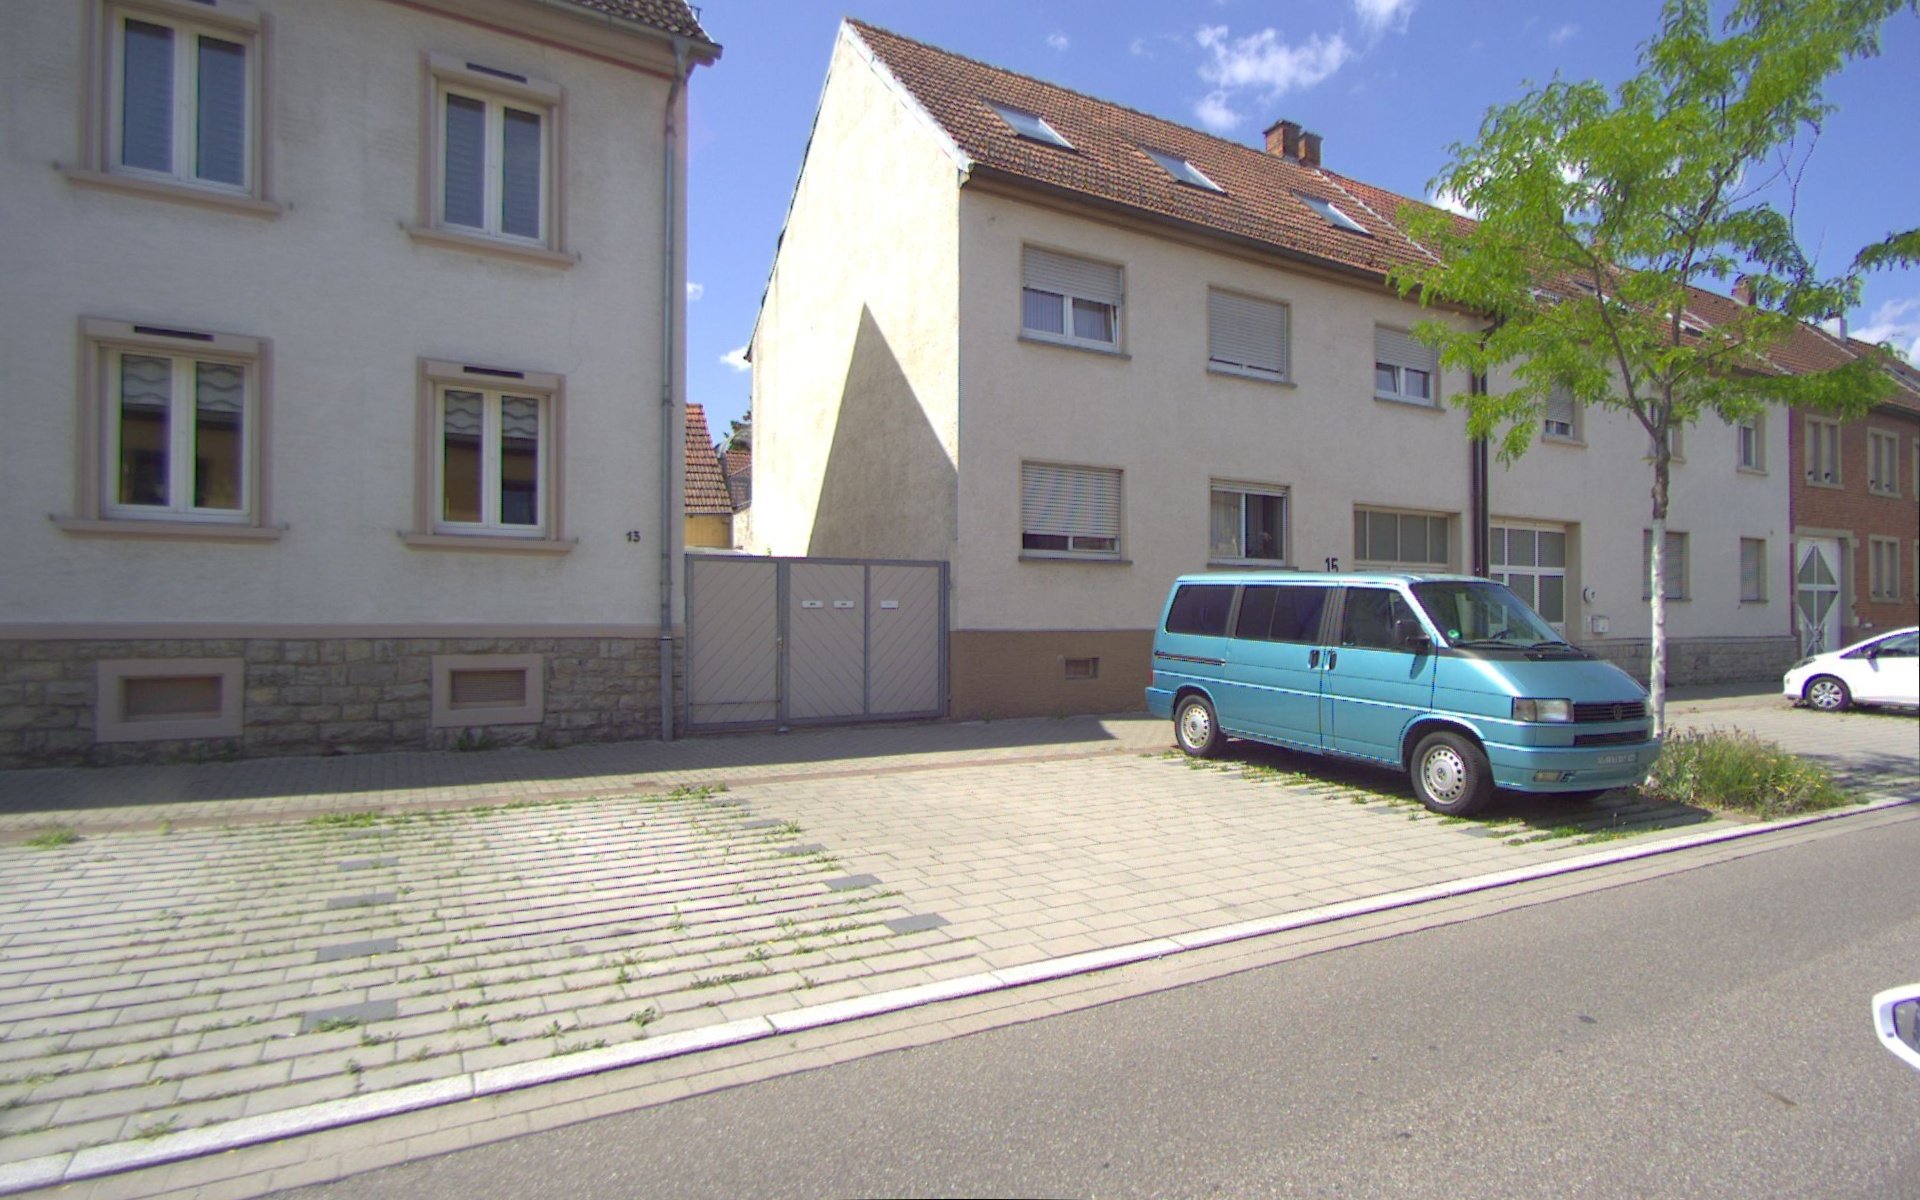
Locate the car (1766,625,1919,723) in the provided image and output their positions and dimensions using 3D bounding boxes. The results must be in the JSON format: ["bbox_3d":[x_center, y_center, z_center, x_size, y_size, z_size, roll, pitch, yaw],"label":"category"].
[{"bbox_3d":[15.744,1.182,16.222,1.750,1.508,3.902,1,-1,-27],"label":"car"}]

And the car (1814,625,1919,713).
[{"bbox_3d":[17.758,1.224,17.604,1.750,1.508,3.902,1,-1,-27],"label":"car"}]

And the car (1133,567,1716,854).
[{"bbox_3d":[3.843,0.771,9.297,1.975,1.932,4.658,2,-1,-28],"label":"car"}]

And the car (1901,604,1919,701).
[{"bbox_3d":[21.854,1.090,19.721,1.928,2.023,4.596,1,-1,-27],"label":"car"}]
